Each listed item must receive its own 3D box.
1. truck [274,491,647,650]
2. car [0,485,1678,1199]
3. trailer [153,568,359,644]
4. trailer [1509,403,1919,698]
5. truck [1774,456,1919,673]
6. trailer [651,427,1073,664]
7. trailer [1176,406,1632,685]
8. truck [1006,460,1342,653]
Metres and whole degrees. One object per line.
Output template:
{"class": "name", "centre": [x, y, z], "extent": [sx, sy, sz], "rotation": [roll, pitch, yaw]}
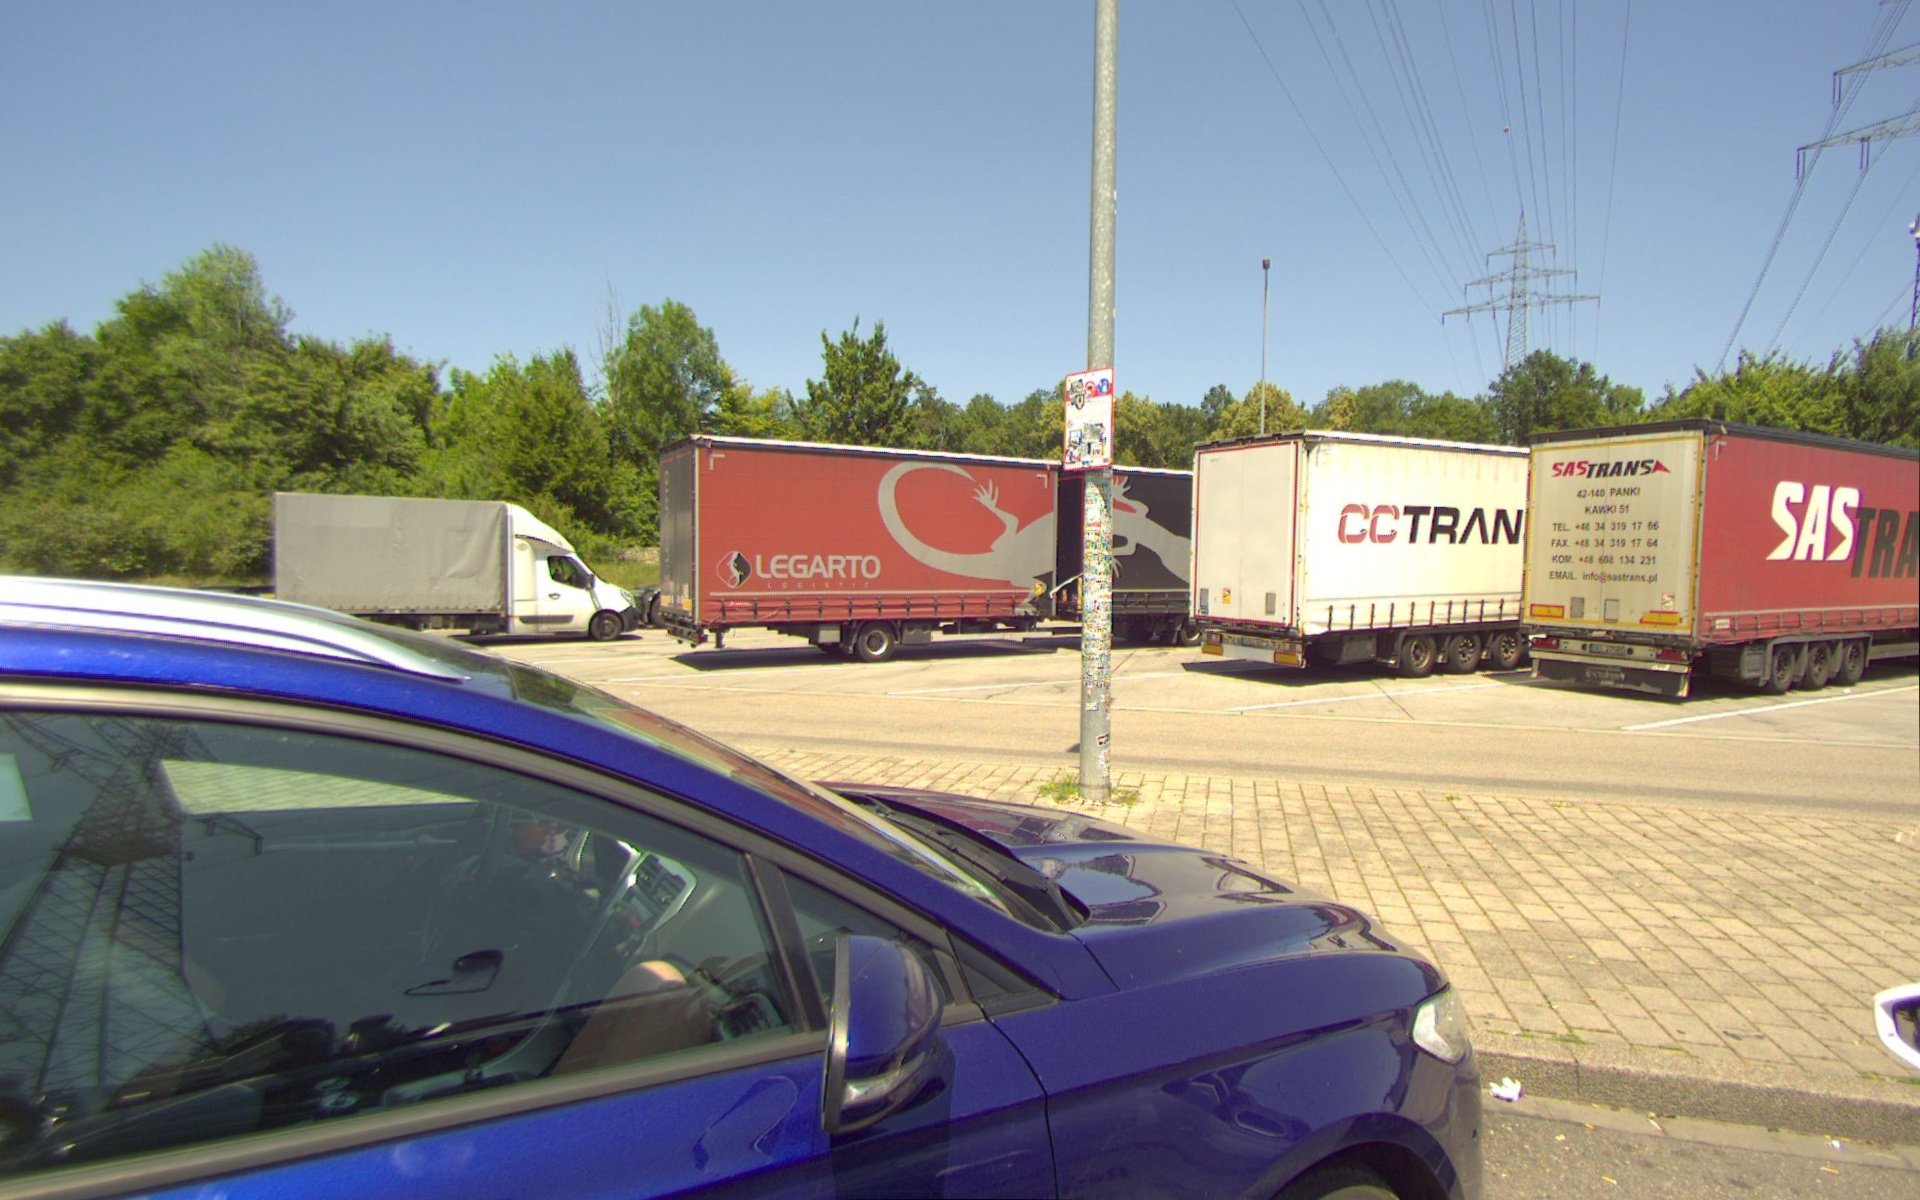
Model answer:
{"class": "truck", "centre": [-11.109, -0.607, 22.901], "extent": [7.265, 3.170, 2.352], "rotation": [0, 1, -30]}
{"class": "car", "centre": [-1.009, 0.652, 1.467], "extent": [4.419, 1.485, 1.765], "rotation": [0, 1, -32]}
{"class": "trailer", "centre": [-16.511, 0.144, 23.789], "extent": [3.856, 1.684, 1.464], "rotation": [0, 1, -30]}
{"class": "trailer", "centre": [15.303, -0.673, 18.512], "extent": [13.129, 4.112, 2.736], "rotation": [0, 1, -31]}
{"class": "truck", "centre": [20.818, -0.677, 21.775], "extent": [6.749, 4.136, 2.729], "rotation": [0, 1, -31]}
{"class": "trailer", "centre": [-1.791, -0.920, 20.312], "extent": [8.158, 4.027, 2.651], "rotation": [0, 1, -31]}
{"class": "trailer", "centre": [8.711, -0.832, 19.110], "extent": [9.614, 4.321, 2.733], "rotation": [0, 1, -29]}
{"class": "truck", "centre": [5.401, -0.913, 24.585], "extent": [8.534, 4.073, 2.624], "rotation": [0, 1, -30]}
